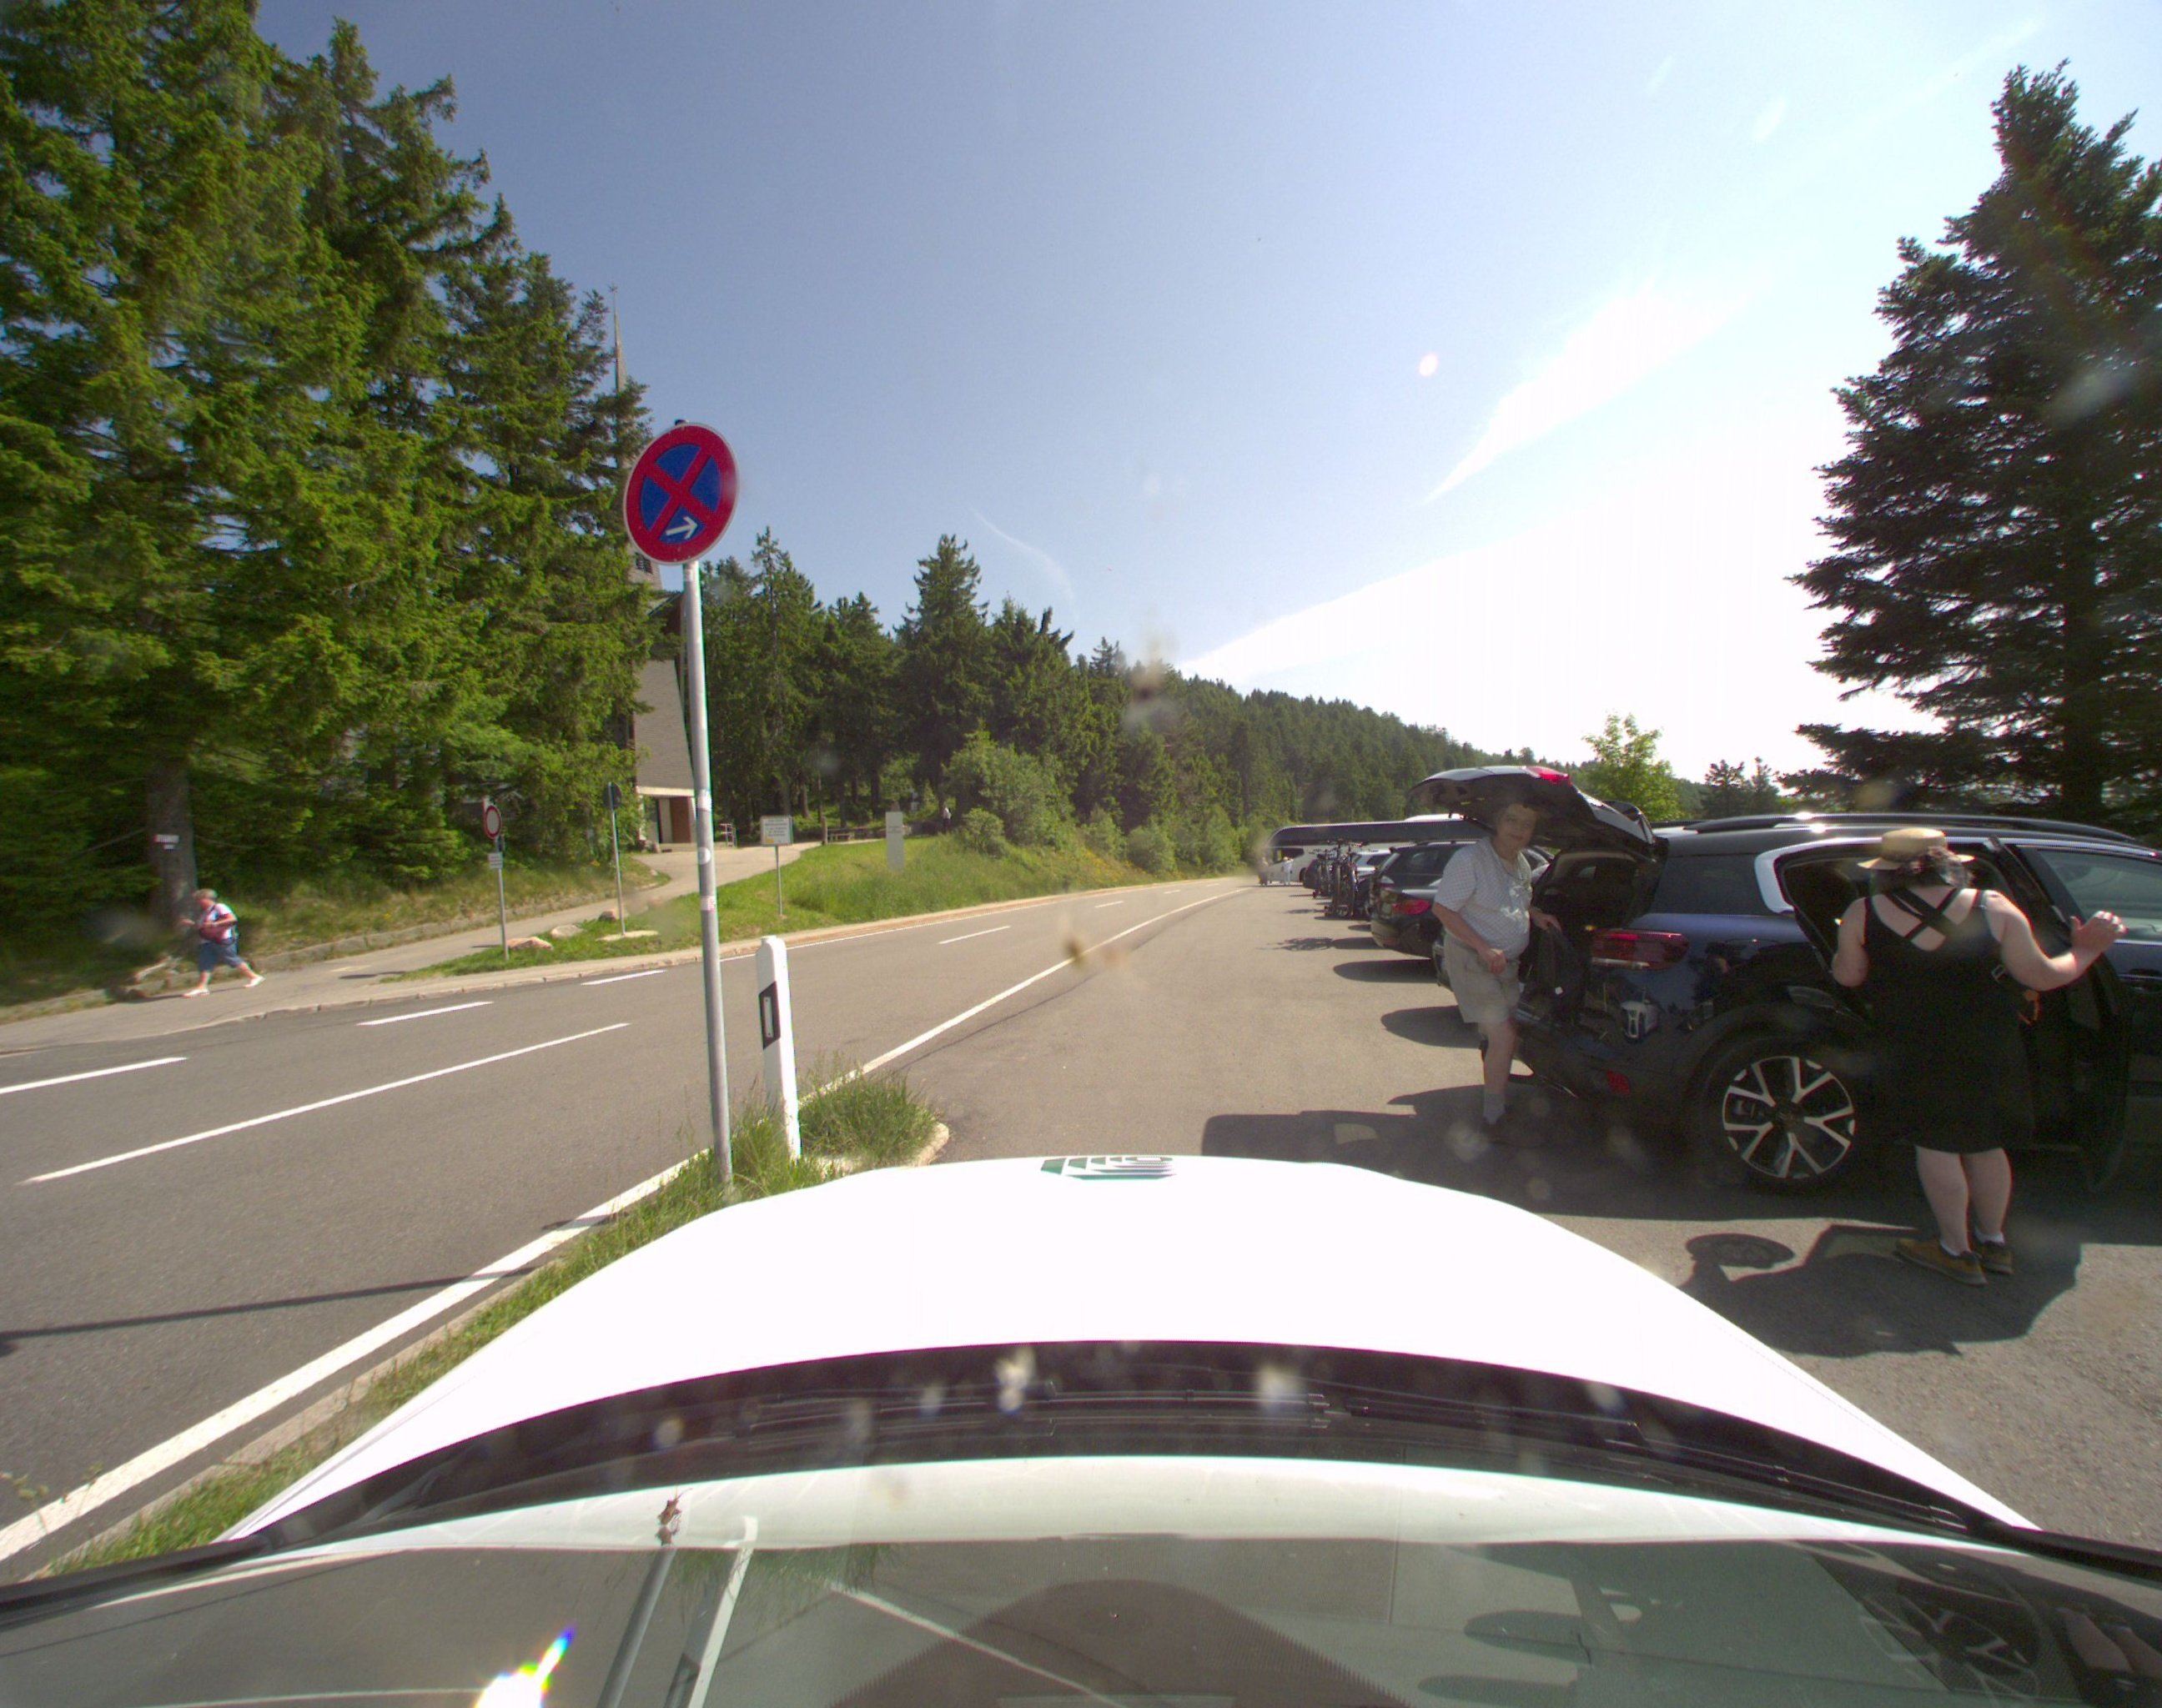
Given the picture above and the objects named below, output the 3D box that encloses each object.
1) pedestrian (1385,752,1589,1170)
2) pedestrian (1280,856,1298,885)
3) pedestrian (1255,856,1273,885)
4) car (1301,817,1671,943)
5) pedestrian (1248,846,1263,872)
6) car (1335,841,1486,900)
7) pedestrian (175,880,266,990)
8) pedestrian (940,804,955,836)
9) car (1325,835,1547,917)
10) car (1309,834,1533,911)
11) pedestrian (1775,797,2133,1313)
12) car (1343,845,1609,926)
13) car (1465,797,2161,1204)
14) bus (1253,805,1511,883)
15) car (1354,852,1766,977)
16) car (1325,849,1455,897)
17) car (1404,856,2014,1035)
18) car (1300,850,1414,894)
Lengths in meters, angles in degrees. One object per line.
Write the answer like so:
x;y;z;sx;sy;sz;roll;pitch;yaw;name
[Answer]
2.076;0.463;4.155;0.728;1.870;0.762;0;2;44;pedestrian
11.564;0.913;45.271;0.764;1.585;0.776;-3;-1;20;pedestrian
10.292;0.944;45.813;0.764;1.585;0.776;-3;-1;20;pedestrian
6.115;0.431;12.990;4.911;1.695;1.953;-3;-1;16;car
11.451;0.324;53.549;0.848;1.683;0.872;-3;-1;9;pedestrian
9.821;0.499;24.561;3.958;1.554;1.666;-3;-1;13;car
-13.974;1.300;13.239;0.715;1.681;0.684;-4;-1;9;pedestrian
-8.158;-2.093;49.844;0.676;1.878;0.543;-3;-1;8;pedestrian
7.705;0.492;18.114;4.213;1.554;1.845;-3;-1;13;car
8.521;0.473;20.958;4.998;1.651;2.055;-3;-1;13;car
3.082;0.634;2.961;0.707;1.613;0.540;-1;-2;27;pedestrian
7.275;0.595;15.471;4.213;1.269;1.845;-3;-1;13;car
4.560;0.607;4.202;4.319;1.626;1.874;1;-1;8;car
16.554;-0.433;45.594;12.975;3.533;3.061;-3;-1;24;bus
5.654;0.685;10.083;4.059;1.376;1.706;0;-1;7;car
10.471;0.640;27.857;3.958;1.398;1.626;-3;-1;13;car
5.235;0.720;7.275;4.062;1.376;1.704;0;-1;4;car
10.541;0.687;31.365;3.958;1.449;1.868;-3;-1;13;car
